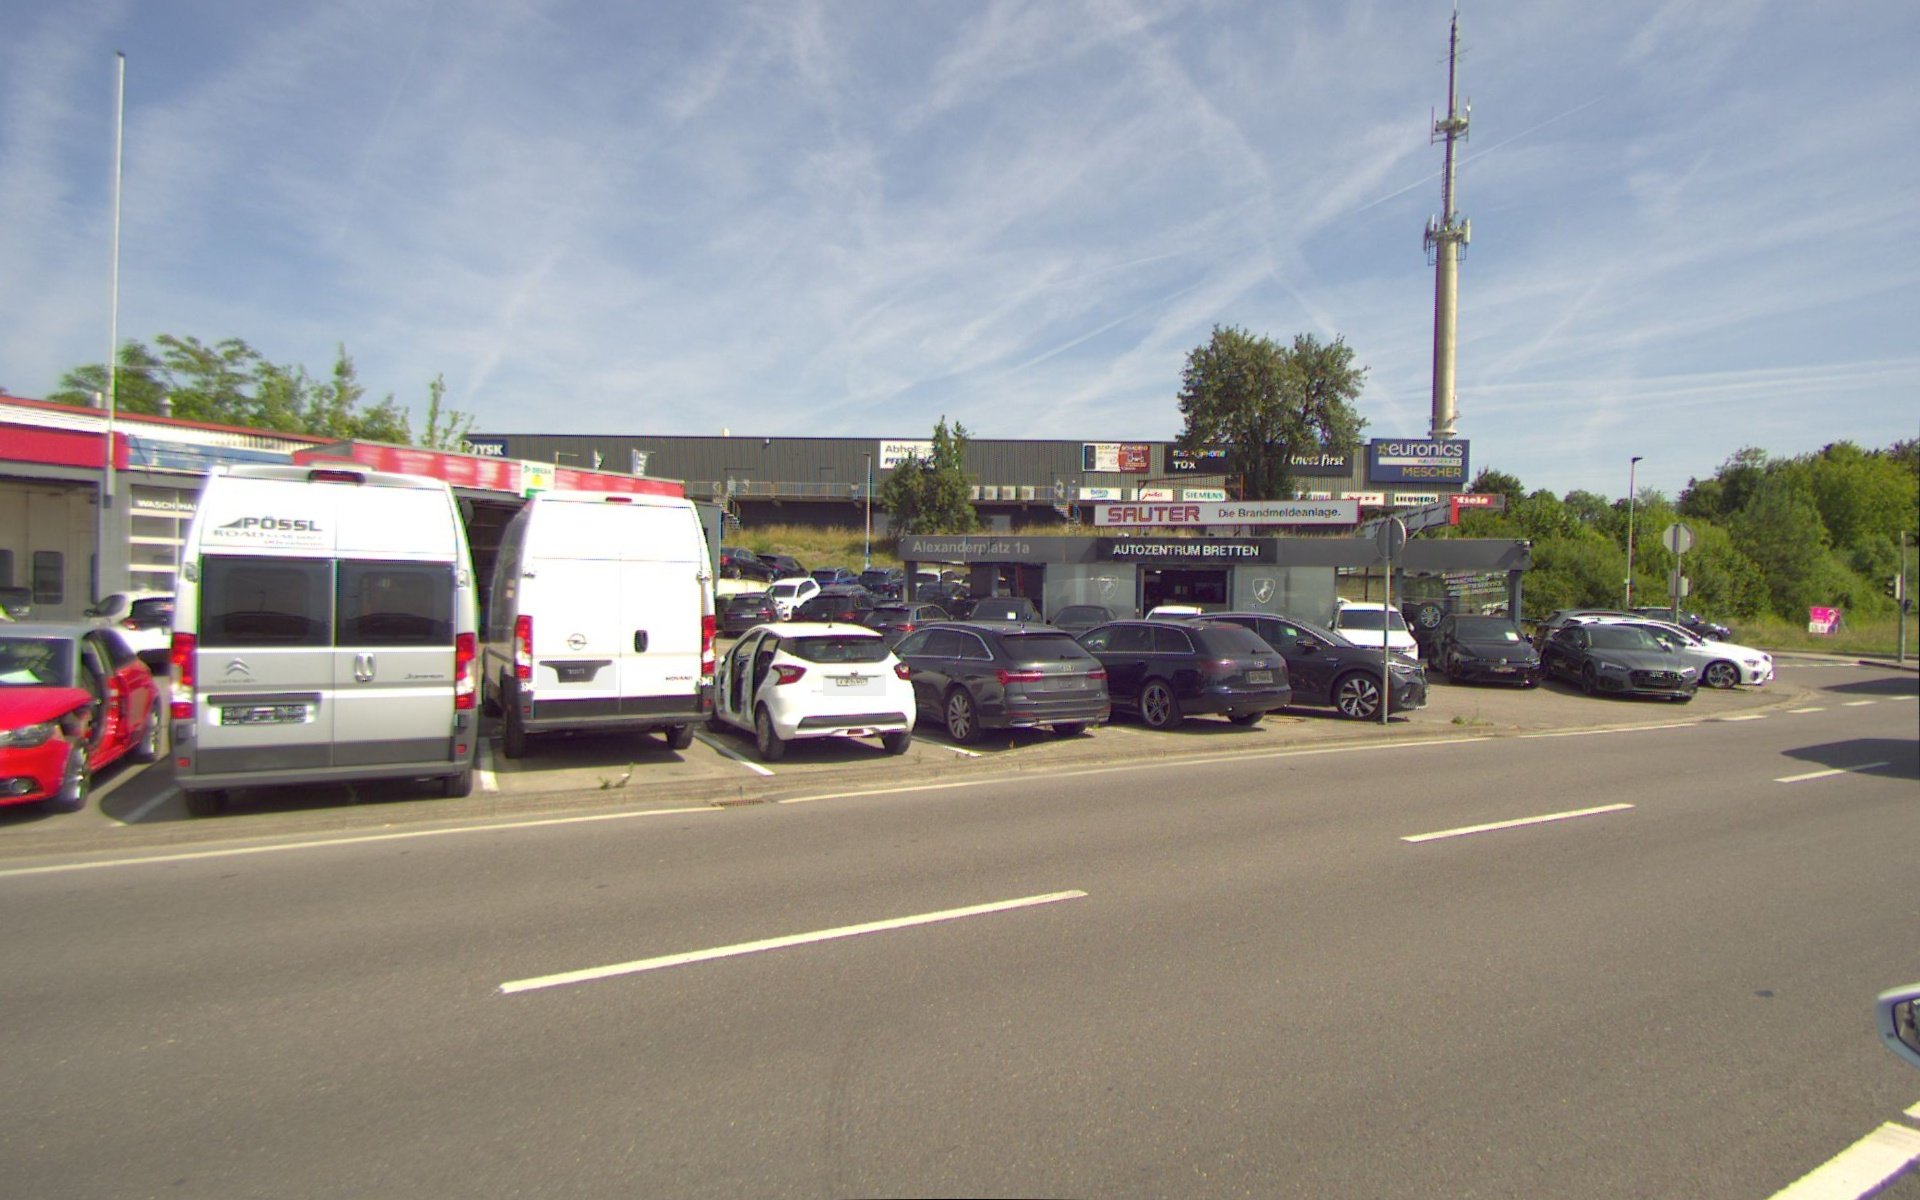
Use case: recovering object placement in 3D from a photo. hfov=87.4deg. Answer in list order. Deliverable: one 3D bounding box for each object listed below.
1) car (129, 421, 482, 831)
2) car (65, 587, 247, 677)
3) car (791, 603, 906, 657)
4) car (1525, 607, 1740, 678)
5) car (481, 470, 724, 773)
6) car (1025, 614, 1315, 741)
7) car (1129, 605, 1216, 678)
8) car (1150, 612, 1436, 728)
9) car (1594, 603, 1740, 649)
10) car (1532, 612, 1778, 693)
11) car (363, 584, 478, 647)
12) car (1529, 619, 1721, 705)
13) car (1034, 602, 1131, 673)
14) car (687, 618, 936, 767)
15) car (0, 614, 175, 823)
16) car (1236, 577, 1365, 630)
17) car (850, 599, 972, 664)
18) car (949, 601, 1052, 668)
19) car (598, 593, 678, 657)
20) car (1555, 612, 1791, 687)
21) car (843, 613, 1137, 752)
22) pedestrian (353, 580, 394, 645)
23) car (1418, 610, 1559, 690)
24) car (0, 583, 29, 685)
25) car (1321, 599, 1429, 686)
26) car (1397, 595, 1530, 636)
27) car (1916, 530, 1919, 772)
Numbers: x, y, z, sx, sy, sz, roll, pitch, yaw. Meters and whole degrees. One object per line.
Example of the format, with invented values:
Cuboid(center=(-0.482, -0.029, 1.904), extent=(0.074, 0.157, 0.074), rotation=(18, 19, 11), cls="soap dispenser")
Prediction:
Cuboid(center=(-6.014, 0.217, 9.857), extent=(2.150, 2.809, 5.544), rotation=(1, -1, -28), cls="car")
Cuboid(center=(-15.390, 0.538, 19.174), extent=(3.882, 1.540, 1.876), rotation=(1, 0, 38), cls="car")
Cuboid(center=(-3.147, 0.844, 29.174), extent=(1.741, 1.429, 4.103), rotation=(0, -1, 19), cls="car")
Cuboid(center=(19.137, 1.156, 28.860), extent=(4.702, 1.647, 1.932), rotation=(4, 1, 19), cls="car")
Cuboid(center=(-4.714, 0.223, 12.558), extent=(2.089, 2.876, 5.686), rotation=(0, 0, -28), cls="car")
Cuboid(center=(2.897, 1.002, 14.700), extent=(2.007, 1.550, 4.015), rotation=(1, -1, -30), cls="car")
Cuboid(center=(5.361, 0.945, 24.987), extent=(1.791, 1.544, 4.144), rotation=(2, 1, 16), cls="car")
Cuboid(center=(5.465, 1.050, 16.589), extent=(4.112, 1.644, 2.025), rotation=(0, -1, 33), cls="car")
Cuboid(center=(29.424, 1.054, 41.975), extent=(4.543, 1.548, 1.916), rotation=(4, 2, 16), cls="car")
Cuboid(center=(16.800, 1.210, 24.617), extent=(4.628, 1.495, 1.890), rotation=(4, 2, 27), cls="car")
Cuboid(center=(-15.507, 0.412, 28.791), extent=(1.856, 1.583, 4.048), rotation=(1, 1, -44), cls="car")
Cuboid(center=(14.160, 1.235, 21.753), extent=(1.934, 1.455, 4.643), rotation=(1, 1, 13), cls="car")
Cuboid(center=(3.259, 0.893, 26.009), extent=(1.779, 1.544, 4.345), rotation=(2, 1, 16), cls="car")
Cuboid(center=(-2.014, 0.997, 12.497), extent=(1.857, 1.489, 3.971), rotation=(1, -1, -28), cls="car")
Cuboid(center=(-8.292, 0.862, 8.573), extent=(1.805, 1.450, 3.923), rotation=(1, -1, -28), cls="car")
Cuboid(center=(15.601, 0.107, 46.373), extent=(5.404, 2.069, 2.069), rotation=(4, 2, 16), cls="car")
Cuboid(center=(-1.259, 0.796, 27.739), extent=(1.855, 1.544, 4.344), rotation=(2, 1, 19), cls="car")
Cuboid(center=(1.173, 0.853, 26.980), extent=(1.774, 1.544, 4.099), rotation=(2, 1, 16), cls="car")
Cuboid(center=(-9.030, 0.679, 27.977), extent=(1.857, 1.629, 4.082), rotation=(1, -1, -22), cls="car")
Cuboid(center=(18.624, 1.247, 26.524), extent=(4.623, 1.533, 1.955), rotation=(4, 2, 20), cls="car")
Cuboid(center=(0.213, 0.967, 13.692), extent=(2.006, 1.550, 4.345), rotation=(1, -1, -31), cls="car")
Cuboid(center=(-16.188, 0.345, 27.706), extent=(0.855, 1.750, 0.739), rotation=(3, 1, 44), cls="pedestrian")
Cuboid(center=(12.015, 1.066, 23.126), extent=(1.762, 1.507, 4.346), rotation=(1, 1, 13), cls="car")
Cuboid(center=(-17.091, 0.514, 16.880), extent=(1.976, 1.628, 3.946), rotation=(1, 0, -45), cls="car")
Cuboid(center=(9.764, 0.906, 23.942), extent=(1.855, 1.772, 4.470), rotation=(2, 1, 16), cls="car")
Cuboid(center=(22.017, 0.666, 44.152), extent=(4.874, 1.438, 1.950), rotation=(4, 0, 16), cls="car")
Cuboid(center=(13.554, 0.588, 11.620), extent=(7.037, 2.543, 2.047), rotation=(1, -1, -33), cls="car")
